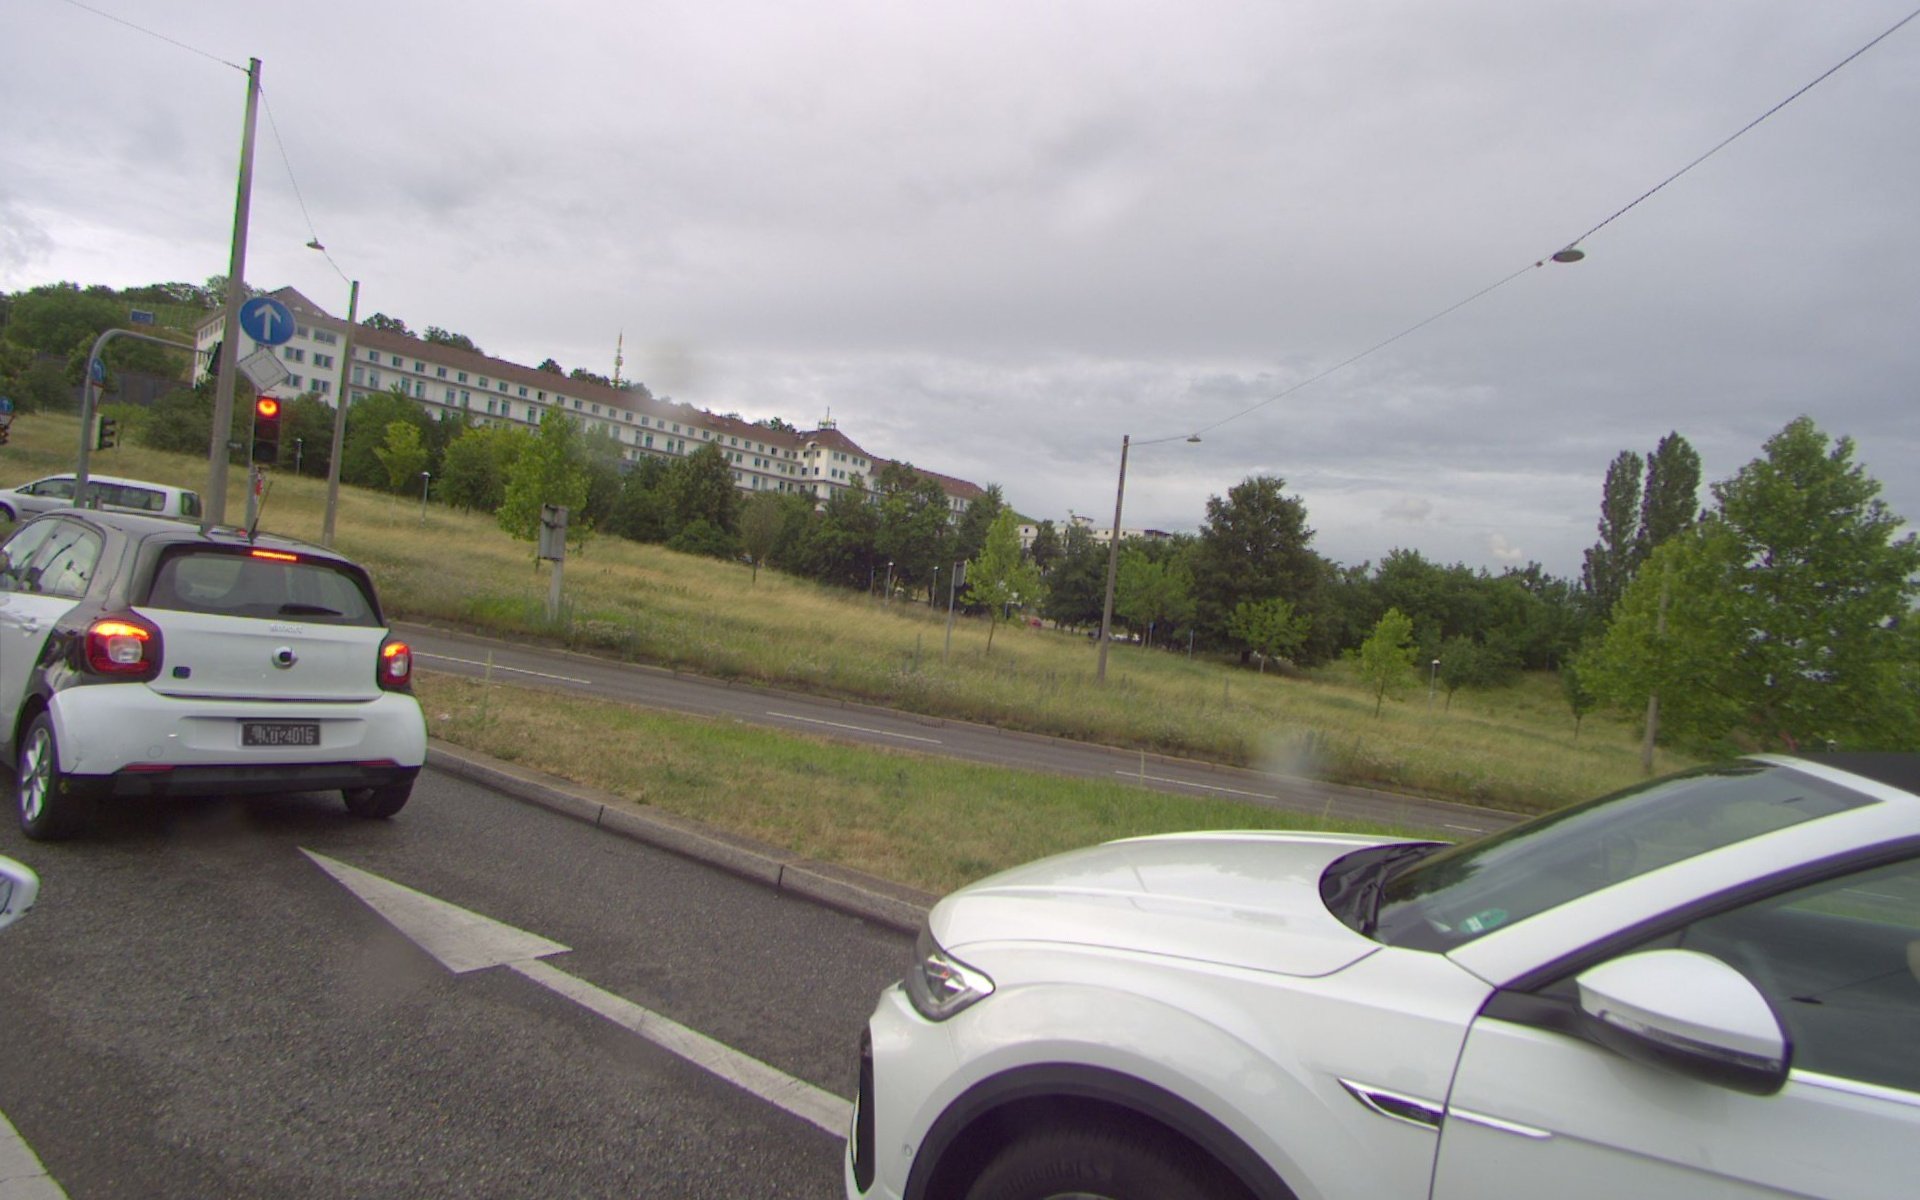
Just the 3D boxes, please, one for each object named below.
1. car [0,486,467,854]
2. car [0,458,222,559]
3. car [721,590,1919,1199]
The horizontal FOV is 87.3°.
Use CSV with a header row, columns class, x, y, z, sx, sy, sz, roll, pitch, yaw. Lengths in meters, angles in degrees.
class,x,y,z,sx,sy,sz,roll,pitch,yaw
car,-4.644,0.252,5.846,3.397,1.520,1.659,6,-2,36
car,-22.673,-2.376,26.560,4.630,1.871,1.816,8,-2,-18
car,1.754,1.022,1.793,4.159,1.571,1.717,6,-2,31
